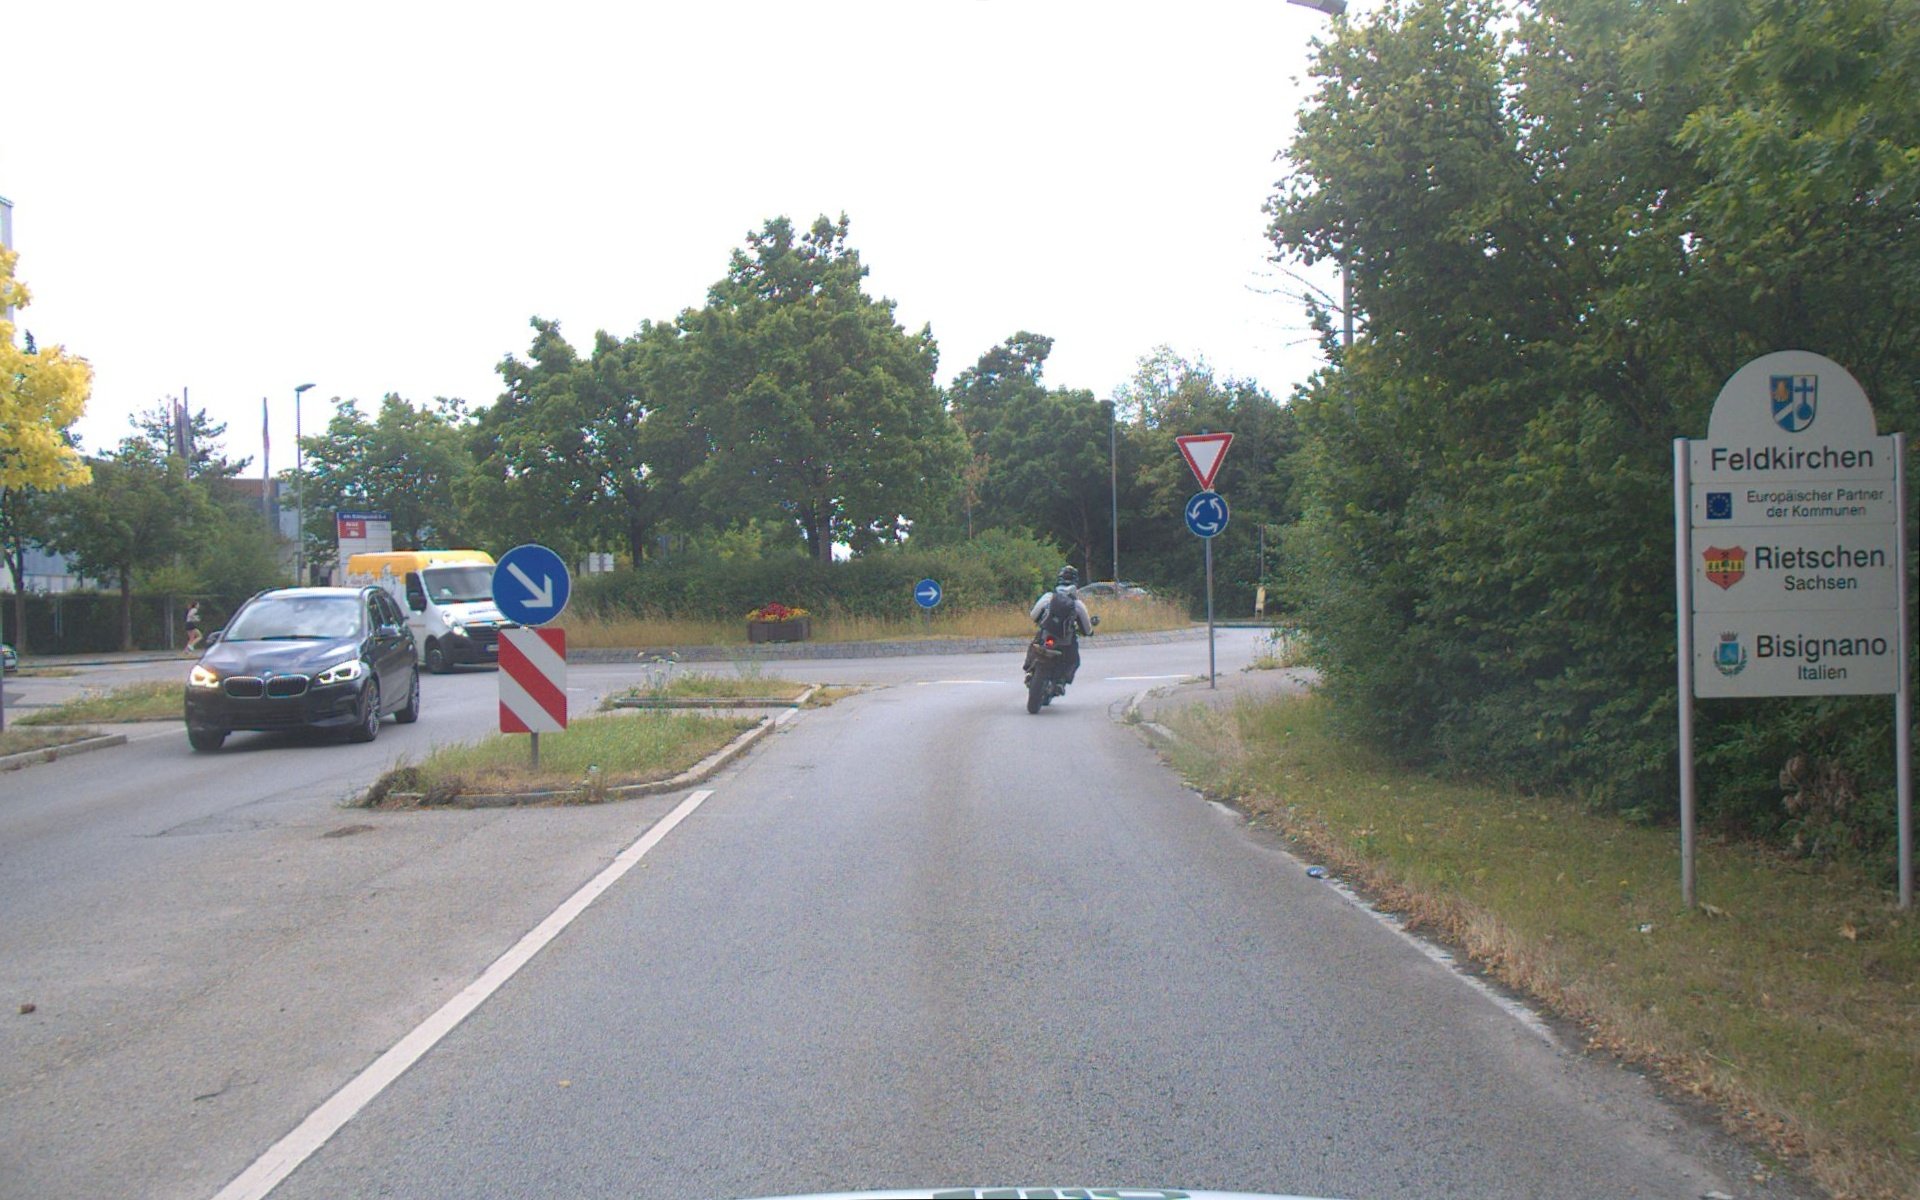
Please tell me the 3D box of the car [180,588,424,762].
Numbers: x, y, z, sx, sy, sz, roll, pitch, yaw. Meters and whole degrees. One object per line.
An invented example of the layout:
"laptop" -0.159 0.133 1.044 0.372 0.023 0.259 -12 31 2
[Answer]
"car" -7.103 0.725 18.287 1.707 1.613 4.343 -3 0 -12

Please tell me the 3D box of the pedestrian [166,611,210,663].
"pedestrian" -22.723 1.083 48.691 0.619 1.494 0.946 -2 0 32

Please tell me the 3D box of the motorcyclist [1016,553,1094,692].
"motorcyclist" 1.181 0.264 20.302 0.843 1.652 1.191 -1 0 7

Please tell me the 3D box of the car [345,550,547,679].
"car" -10.927 0.283 34.882 2.149 2.494 5.363 -2 1 -40

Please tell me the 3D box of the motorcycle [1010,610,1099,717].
"motorcycle" 1.185 0.738 20.240 0.877 1.178 2.622 -1 0 7

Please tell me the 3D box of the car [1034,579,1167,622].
"car" 4.649 0.029 54.757 3.916 1.277 1.995 -2 1 33

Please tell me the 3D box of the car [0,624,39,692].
"car" -22.376 1.302 35.215 4.368 1.370 1.934 -2 1 -5
